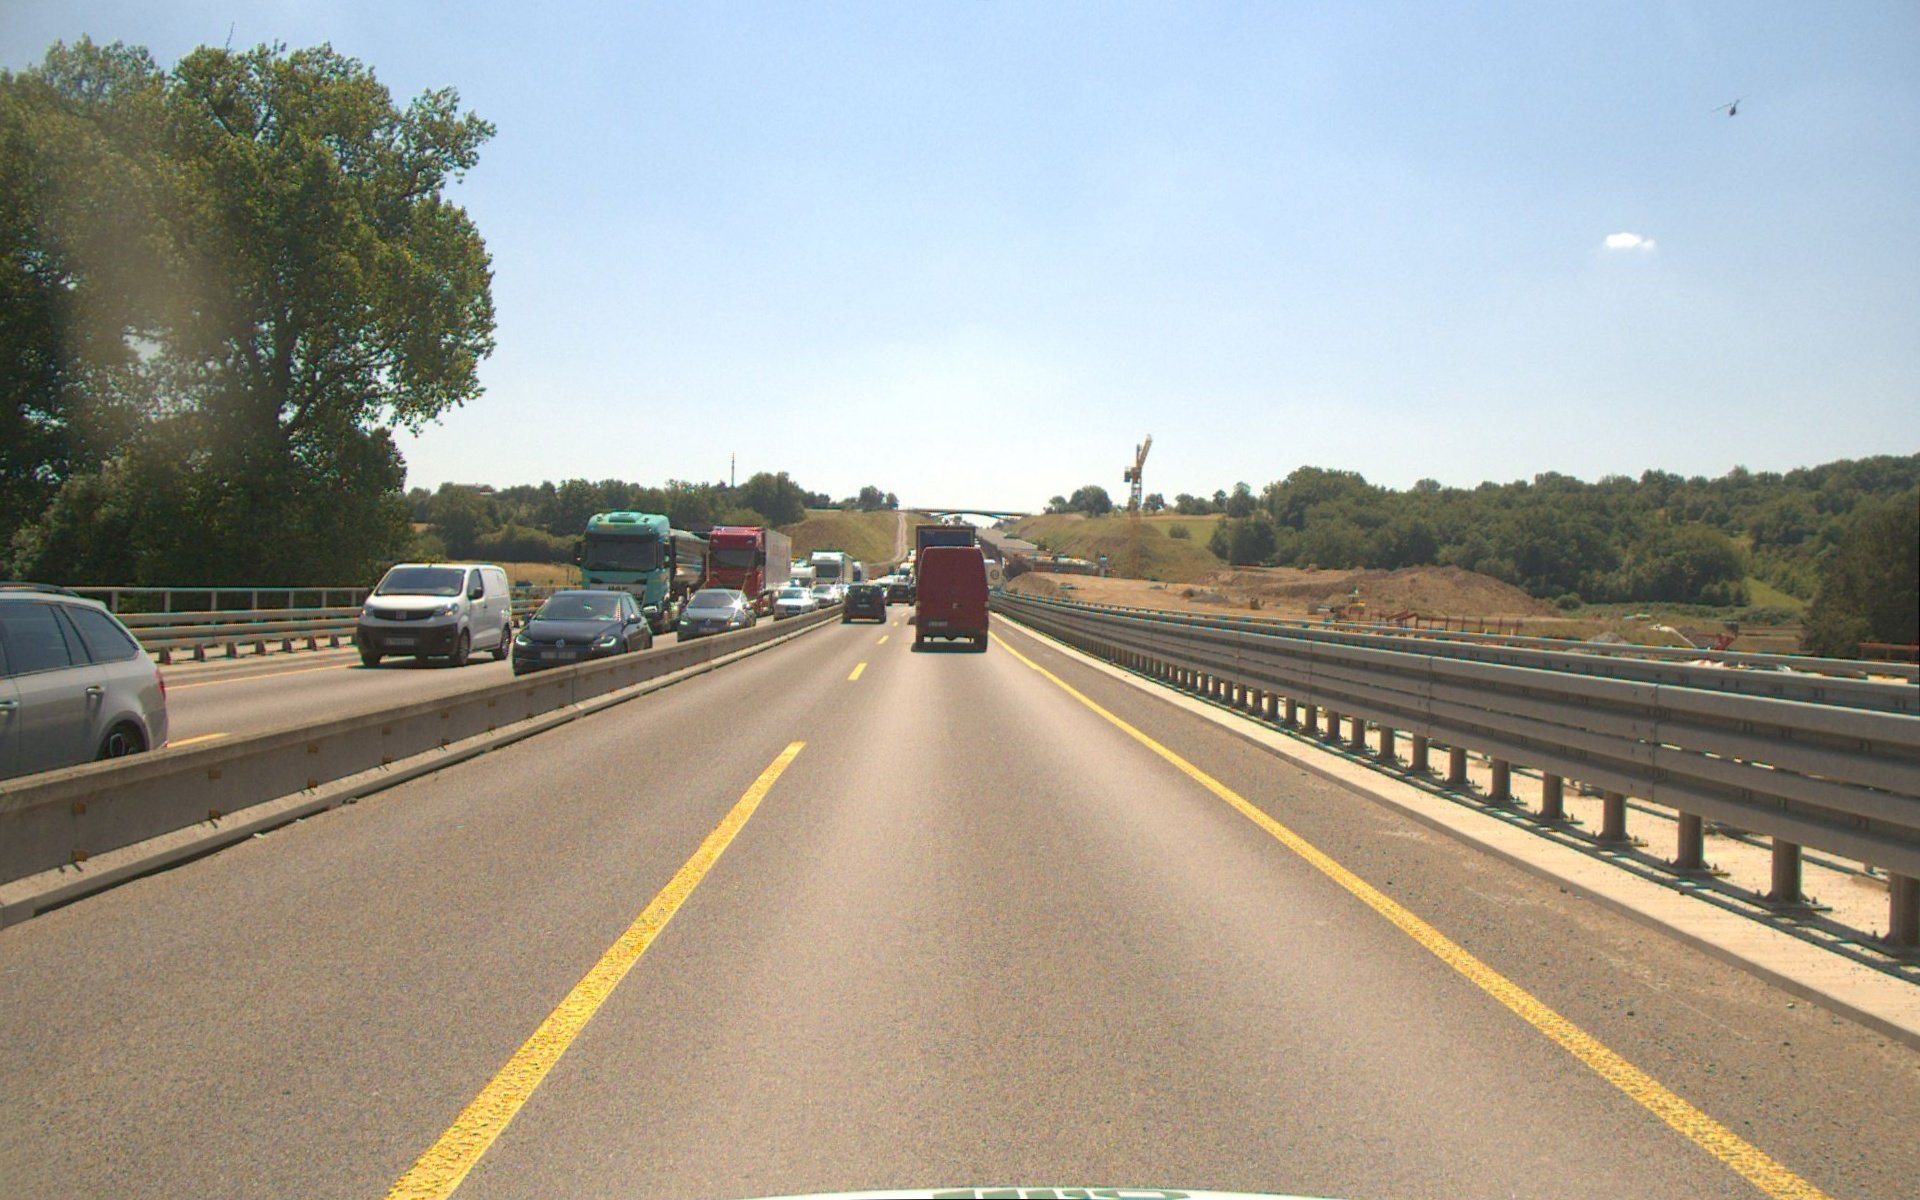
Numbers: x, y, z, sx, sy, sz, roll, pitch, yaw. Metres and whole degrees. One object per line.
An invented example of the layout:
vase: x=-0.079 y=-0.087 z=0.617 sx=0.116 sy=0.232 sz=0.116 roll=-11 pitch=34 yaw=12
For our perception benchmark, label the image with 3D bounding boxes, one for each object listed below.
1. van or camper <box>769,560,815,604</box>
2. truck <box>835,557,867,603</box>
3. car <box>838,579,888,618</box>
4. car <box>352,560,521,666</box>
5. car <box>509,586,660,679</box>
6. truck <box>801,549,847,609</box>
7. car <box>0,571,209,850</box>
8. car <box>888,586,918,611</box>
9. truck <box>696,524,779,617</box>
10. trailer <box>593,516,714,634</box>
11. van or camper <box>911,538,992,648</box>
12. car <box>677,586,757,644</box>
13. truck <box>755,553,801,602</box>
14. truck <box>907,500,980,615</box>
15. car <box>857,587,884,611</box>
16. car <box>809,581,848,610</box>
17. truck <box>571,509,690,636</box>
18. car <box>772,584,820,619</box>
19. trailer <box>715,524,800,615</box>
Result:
van or camper: x=-10.949 y=-1.190 z=108.267 sx=2.452 sy=2.745 sz=5.244 roll=1 pitch=1 yaw=0
truck: x=-10.689 y=-1.967 z=162.677 sx=2.749 sy=4.469 sz=6.225 roll=1 pitch=1 yaw=0
car: x=-4.093 y=-0.075 z=70.133 sx=1.971 sy=1.572 sz=4.131 roll=1 pitch=0 yaw=-2
car: x=-9.975 y=0.206 z=31.883 sx=1.821 sy=1.900 sz=4.628 roll=0 pitch=1 yaw=-1
car: x=-6.256 y=0.491 z=27.972 sx=1.645 sy=1.416 sz=4.155 roll=-1 pitch=1 yaw=-1
truck: x=-10.827 y=-1.652 z=132.619 sx=3.015 sy=4.616 sz=7.103 roll=1 pitch=1 yaw=0
car: x=-5.859 y=0.583 z=8.627 sx=1.788 sy=1.443 sz=4.656 roll=-1 pitch=1 yaw=-1
car: x=-3.962 y=-0.129 z=114.902 sx=1.971 sy=1.572 sz=4.131 roll=2 pitch=1 yaw=-1
truck: x=-10.287 y=-1.384 z=77.059 sx=2.758 sy=4.107 sz=6.524 roll=1 pitch=1 yaw=1
trailer: x=-10.547 y=-0.831 z=57.787 sx=2.738 sy=3.736 sz=8.953 roll=-1 pitch=0 yaw=-2
van or camper: x=-0.277 y=-0.204 z=44.761 sx=1.988 sy=2.792 sz=4.513 roll=1 pitch=0 yaw=-2
car: x=-6.413 y=0.358 z=44.023 sx=1.598 sy=1.433 sz=4.102 roll=-1 pitch=1 yaw=-1
truck: x=-14.823 y=-1.875 z=135.357 sx=2.845 sy=3.830 sz=8.367 roll=2 pitch=1 yaw=-1
truck: x=-0.815 y=-1.823 z=73.052 sx=2.960 sy=4.775 sz=6.929 roll=-1 pitch=1 yaw=-2
car: x=-6.609 y=-0.099 z=122.430 sx=1.810 sy=1.717 sz=4.617 roll=-1 pitch=0 yaw=-1
car: x=-7.272 y=-0.258 z=91.680 sx=1.851 sy=1.514 sz=4.919 roll=0 pitch=0 yaw=-1
truck: x=-10.388 y=-0.844 z=52.623 sx=2.740 sy=3.787 sz=5.372 roll=-1 pitch=0 yaw=-2
car: x=-7.012 y=0.051 z=71.027 sx=1.745 sy=1.404 sz=4.709 roll=-1 pitch=1 yaw=-2
trailer: x=-10.160 y=-1.572 z=84.287 sx=2.749 sy=4.249 sz=11.799 roll=1 pitch=1 yaw=0
